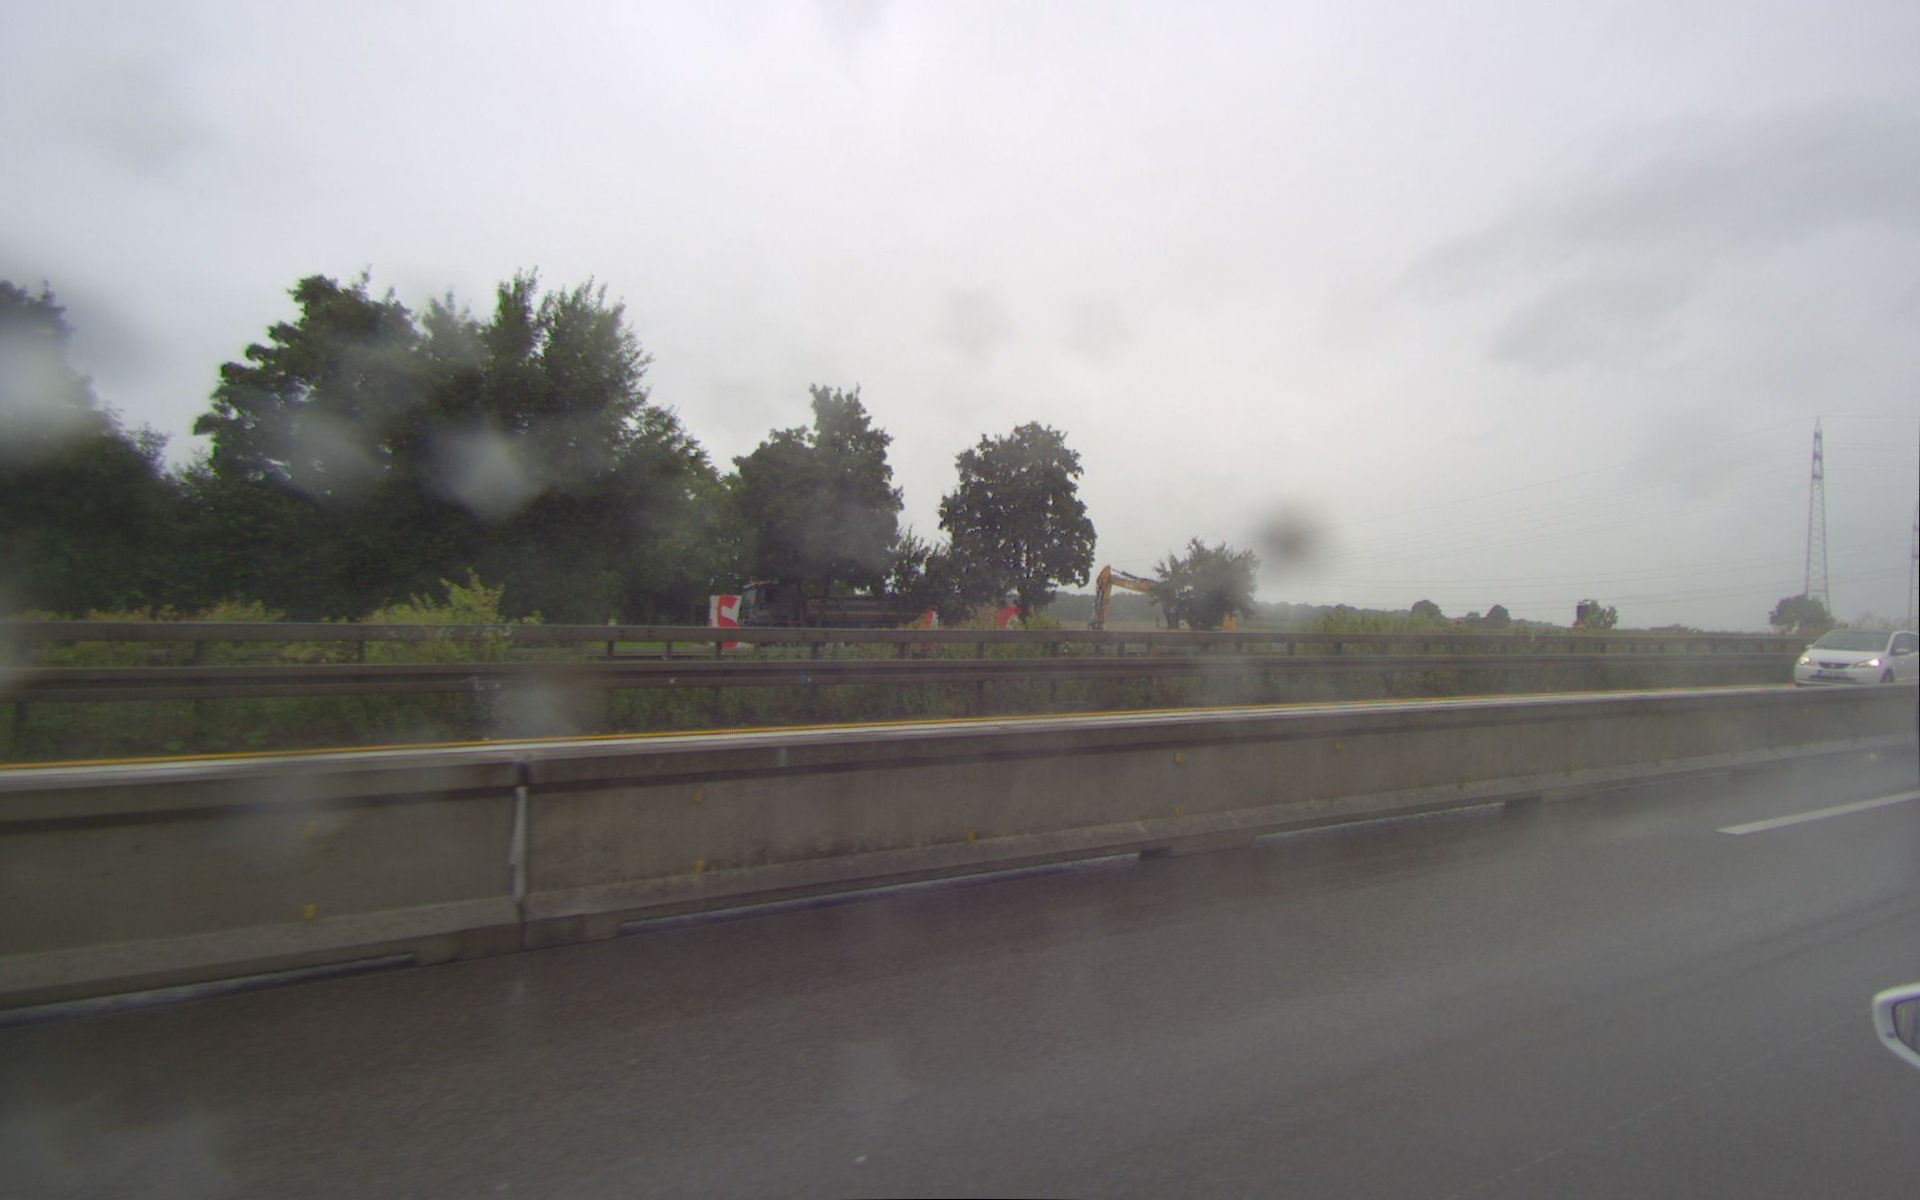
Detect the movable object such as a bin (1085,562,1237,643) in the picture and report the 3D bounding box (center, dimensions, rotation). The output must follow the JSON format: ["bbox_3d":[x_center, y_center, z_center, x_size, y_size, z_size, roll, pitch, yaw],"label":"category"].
[{"bbox_3d":[11.038,0.206,54.743,8.367,3.971,2.716,3,-1,-31],"label":"movable object such as a bin"}]

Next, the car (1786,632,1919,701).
[{"bbox_3d":[20.955,1.499,23.334,3.849,1.455,1.561,2,-1,-31],"label":"car"}]

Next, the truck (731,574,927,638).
[{"bbox_3d":[-6.023,0.341,47.070,8.794,2.740,2.504,2,0,-29],"label":"truck"}]
